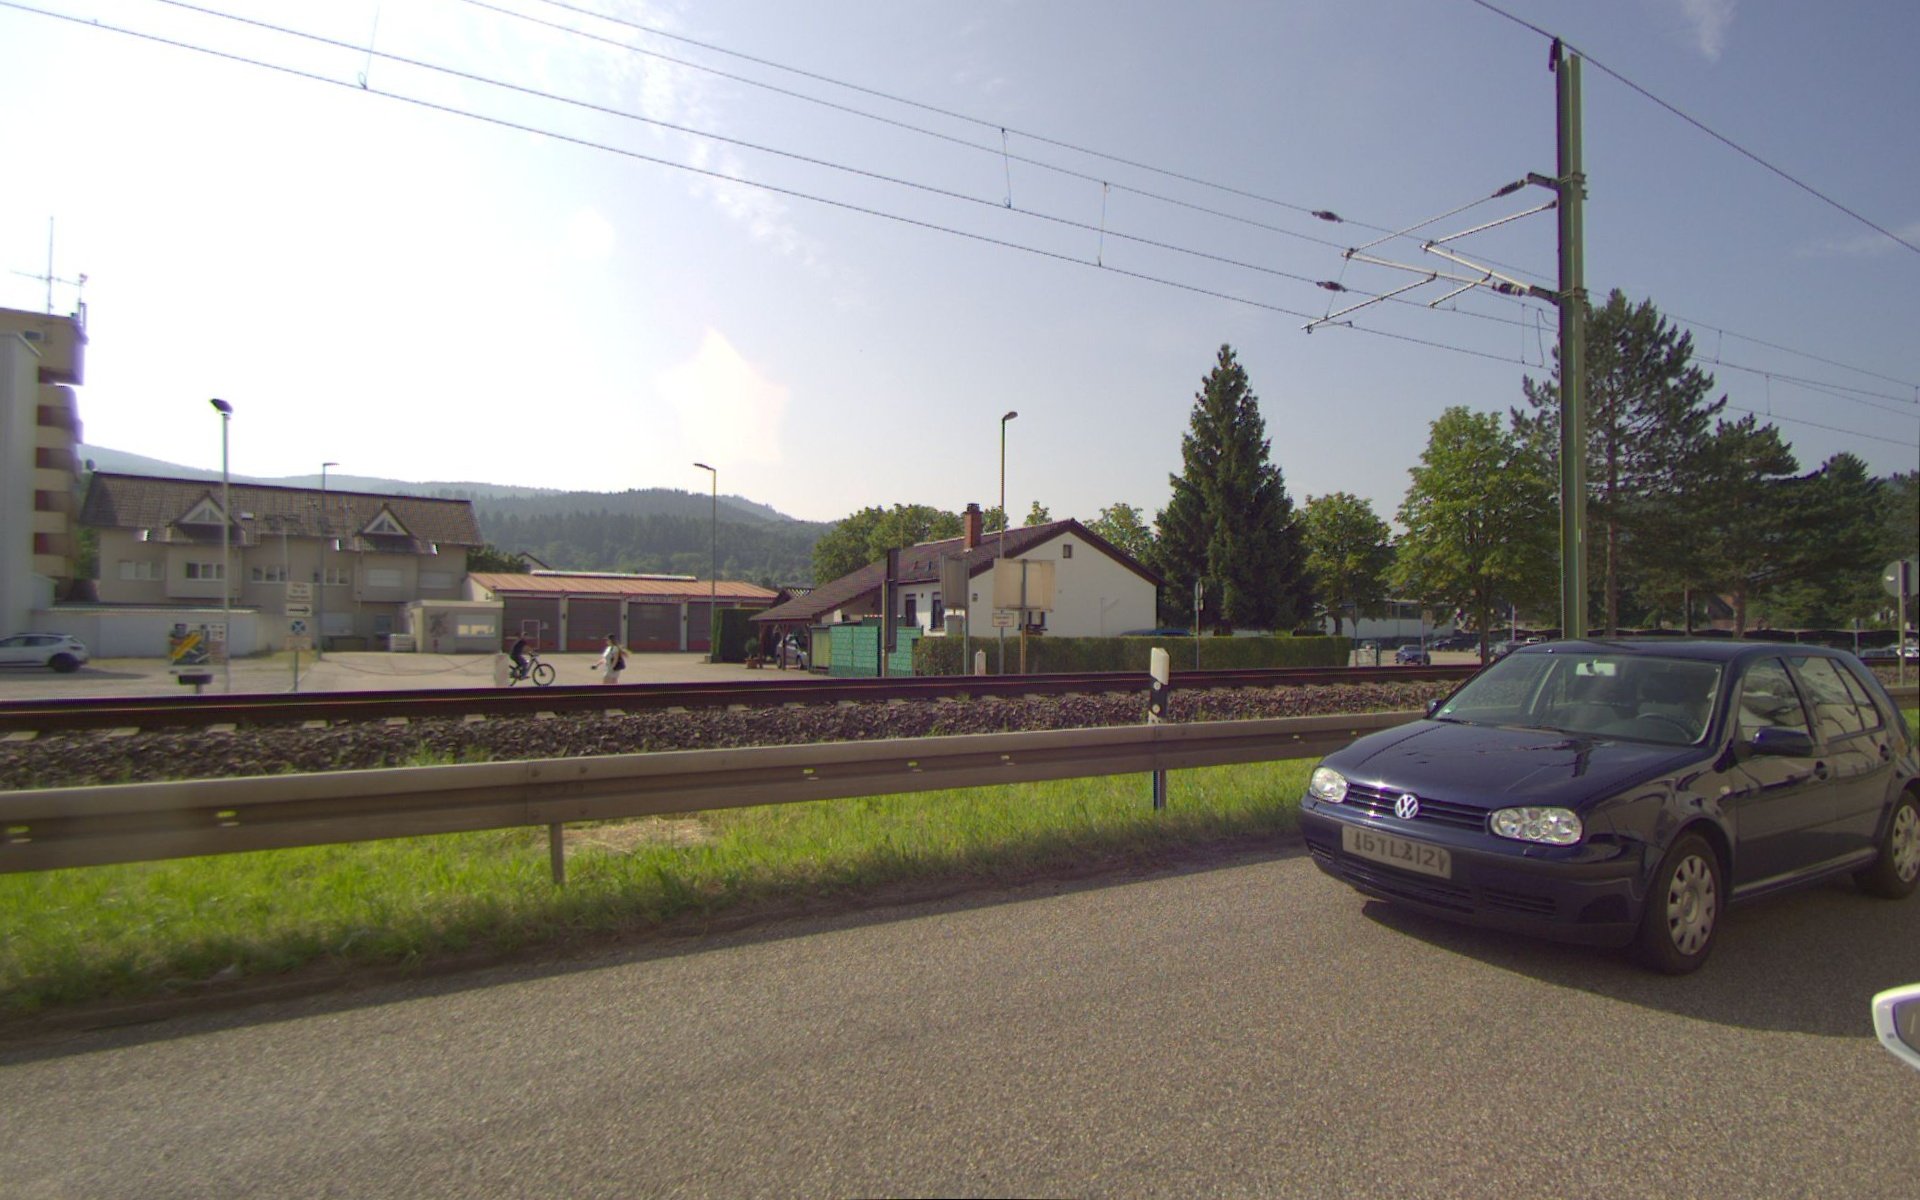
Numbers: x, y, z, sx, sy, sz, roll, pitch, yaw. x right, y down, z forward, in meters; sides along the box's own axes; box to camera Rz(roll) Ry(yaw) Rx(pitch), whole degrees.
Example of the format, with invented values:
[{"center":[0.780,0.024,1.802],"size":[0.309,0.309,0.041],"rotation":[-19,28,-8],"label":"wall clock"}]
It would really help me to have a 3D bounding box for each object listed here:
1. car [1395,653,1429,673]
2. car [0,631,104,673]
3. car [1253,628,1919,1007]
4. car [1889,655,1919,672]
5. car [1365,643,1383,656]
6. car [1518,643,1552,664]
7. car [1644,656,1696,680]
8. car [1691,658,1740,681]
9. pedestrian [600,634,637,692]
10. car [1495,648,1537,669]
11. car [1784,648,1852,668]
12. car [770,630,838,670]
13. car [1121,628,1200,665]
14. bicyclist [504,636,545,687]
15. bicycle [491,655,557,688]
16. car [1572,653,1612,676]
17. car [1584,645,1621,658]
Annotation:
[{"center":[33.882,4.708,75.364],"size":[1.654,1.349,3.855],"rotation":[0,-2,14],"label":"car"},{"center":[-36.620,2.031,39.720],"size":[3.934,1.619,1.703],"rotation":[1,-2,-30],"label":"car"},{"center":[3.746,0.890,5.624],"size":[4.072,1.421,1.755],"rotation":[1,-2,-31],"label":"car"},{"center":[78.192,5.179,82.060],"size":[1.428,1.342,3.539],"rotation":[0,-2,4],"label":"car"},{"center":[48.706,5.789,118.253],"size":[1.535,1.543,3.539],"rotation":[0,-2,14],"label":"car"},{"center":[47.442,4.409,82.958],"size":[1.654,1.664,3.854],"rotation":[0,-2,18],"label":"car"},{"center":[45.852,4.382,64.971],"size":[1.654,1.462,3.854],"rotation":[0,-2,18],"label":"car"},{"center":[54.545,4.992,72.574],"size":[1.654,1.526,3.854],"rotation":[0,-2,18],"label":"car"},{"center":[-7.994,1.461,23.515],"size":[0.668,1.349,0.569],"rotation":[2,-2,-37],"label":"pedestrian"},{"center":[39.943,4.178,72.252],"size":[1.654,1.425,3.856],"rotation":[0,-2,13],"label":"car"},{"center":[63.258,4.284,74.119],"size":[3.450,1.375,1.520],"rotation":[0,-2,16],"label":"car"},{"center":[-6.822,2.147,43.723],"size":[1.692,1.673,3.819],"rotation":[1,-2,-29],"label":"car"},{"center":[7.723,1.784,38.743],"size":[2.864,1.370,1.383],"rotation":[2,-3,-33],"label":"car"},{"center":[-14.249,2.010,32.868],"size":[1.132,1.641,0.742],"rotation":[1,-2,-29],"label":"bicyclist"},{"center":[-14.255,2.318,32.847],"size":[1.939,1.030,0.752],"rotation":[1,-2,-29],"label":"bicycle"},{"center":[48.105,4.919,76.565],"size":[1.654,1.664,3.854],"rotation":[0,-2,18],"label":"car"},{"center":[68.529,5.440,107.221],"size":[1.430,1.342,3.534],"rotation":[1,-2,-7],"label":"car"}]
